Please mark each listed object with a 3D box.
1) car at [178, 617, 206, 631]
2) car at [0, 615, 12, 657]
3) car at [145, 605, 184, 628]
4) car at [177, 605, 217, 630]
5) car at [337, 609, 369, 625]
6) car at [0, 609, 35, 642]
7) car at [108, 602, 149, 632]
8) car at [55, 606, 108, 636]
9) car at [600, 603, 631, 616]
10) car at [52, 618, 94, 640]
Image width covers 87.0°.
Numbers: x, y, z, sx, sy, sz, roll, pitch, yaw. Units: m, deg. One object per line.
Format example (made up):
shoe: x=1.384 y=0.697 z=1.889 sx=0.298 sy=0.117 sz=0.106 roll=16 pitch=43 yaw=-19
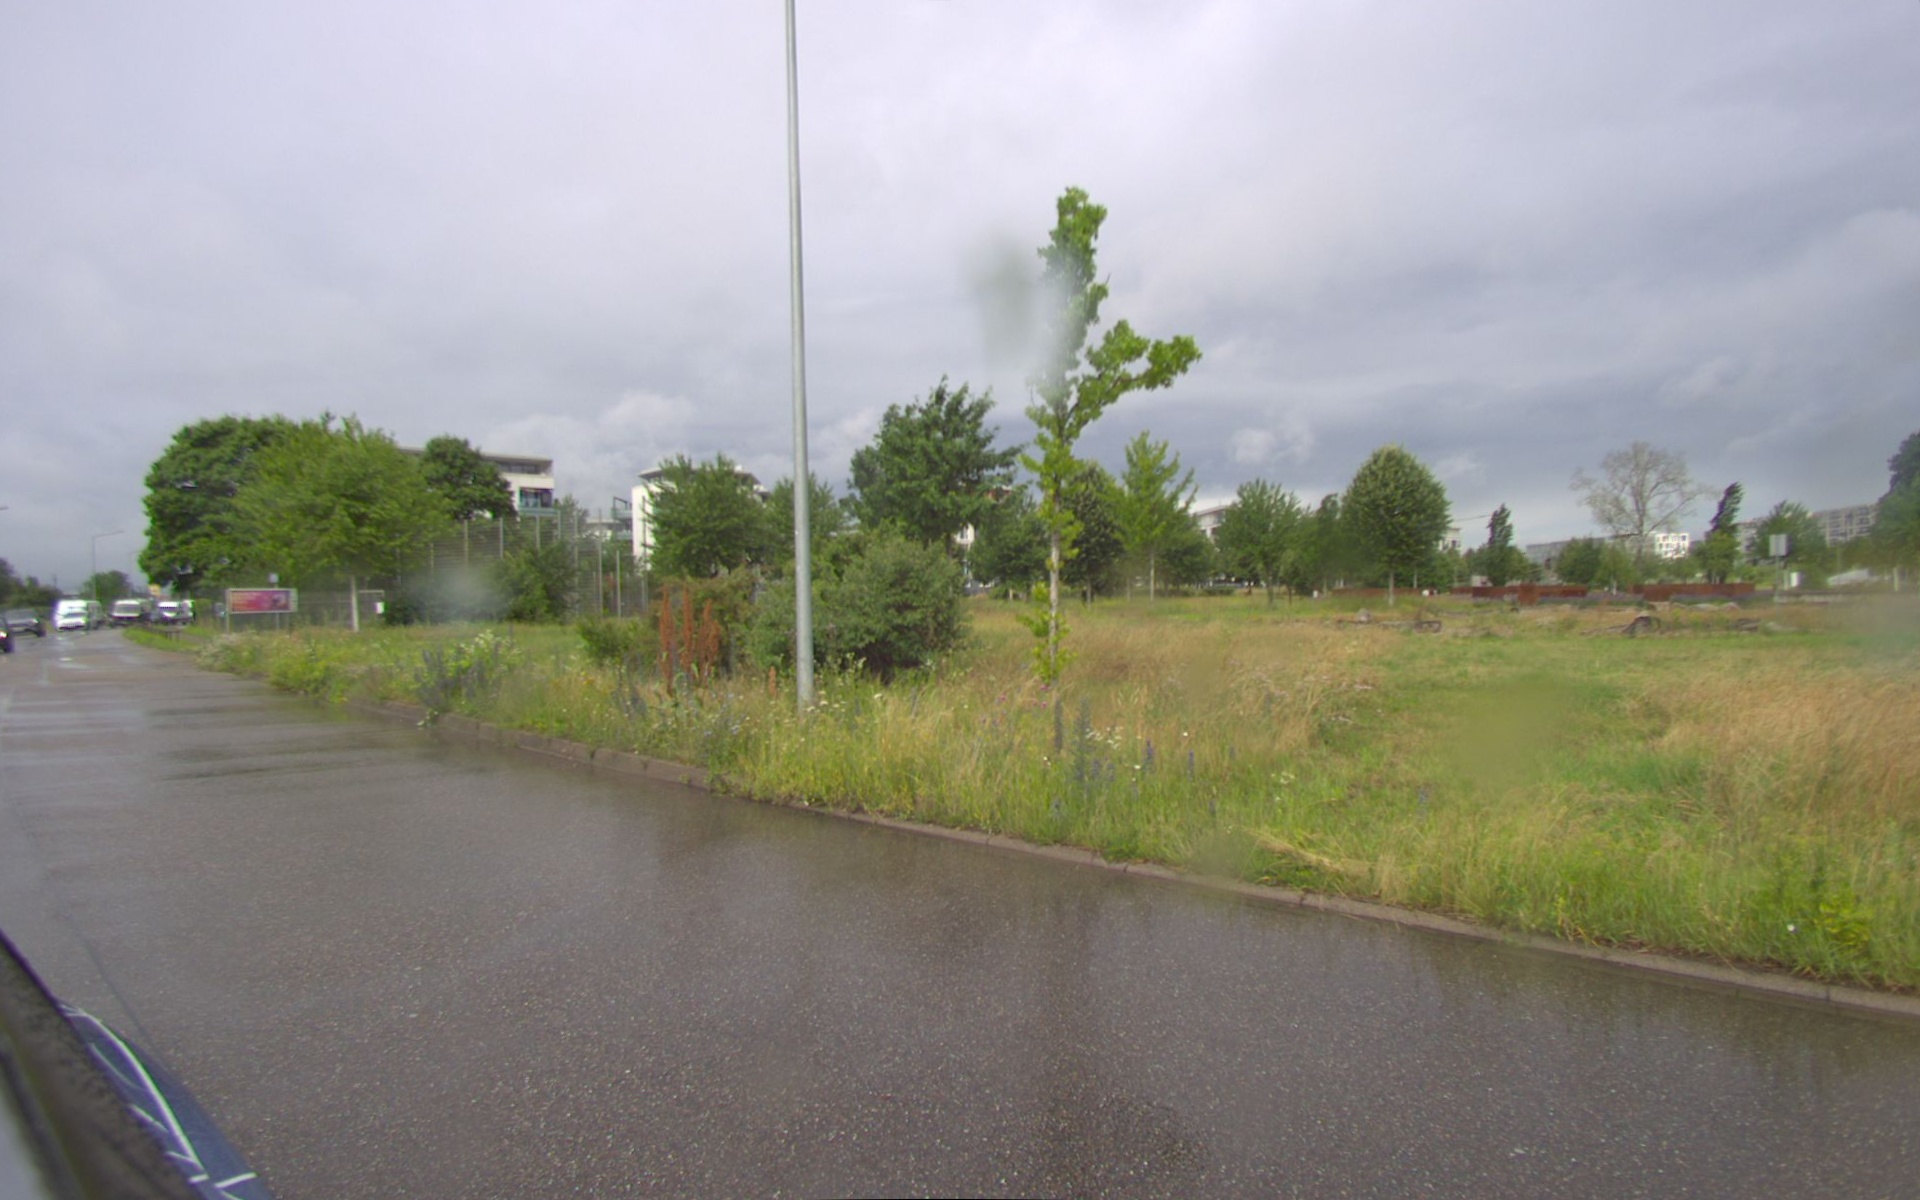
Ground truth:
car: x=-86.779 y=2.693 z=114.396 sx=1.811 sy=1.530 sz=4.371 roll=-1 pitch=0 yaw=-29
car: x=-36.897 y=1.333 z=37.947 sx=1.846 sy=1.530 sz=4.362 roll=4 pitch=-4 yaw=-42
car: x=-90.583 y=1.890 z=115.305 sx=2.039 sy=2.548 sz=6.679 roll=1 pitch=-1 yaw=-25
car: x=-94.945 y=2.165 z=126.016 sx=2.436 sy=2.978 sz=6.909 roll=0 pitch=-1 yaw=-24
car: x=-58.755 y=1.608 z=97.898 sx=1.664 sy=1.406 sz=4.132 roll=-4 pitch=3 yaw=-44
car: x=-53.984 y=1.464 z=57.450 sx=1.982 sy=1.718 sz=4.332 roll=-5 pitch=2 yaw=-44
car: x=-83.284 y=1.699 z=101.472 sx=2.114 sy=2.905 sz=5.293 roll=2 pitch=-1 yaw=-28
car: x=-75.988 y=1.750 z=87.657 sx=2.062 sy=2.491 sz=5.967 roll=0 pitch=0 yaw=-27
car: x=-39.381 y=1.090 z=115.619 sx=1.619 sy=1.406 sz=4.188 roll=-4 pitch=3 yaw=-44
car: x=-67.077 y=2.197 z=76.591 sx=1.812 sy=1.530 sz=4.369 roll=-1 pitch=0 yaw=-33
